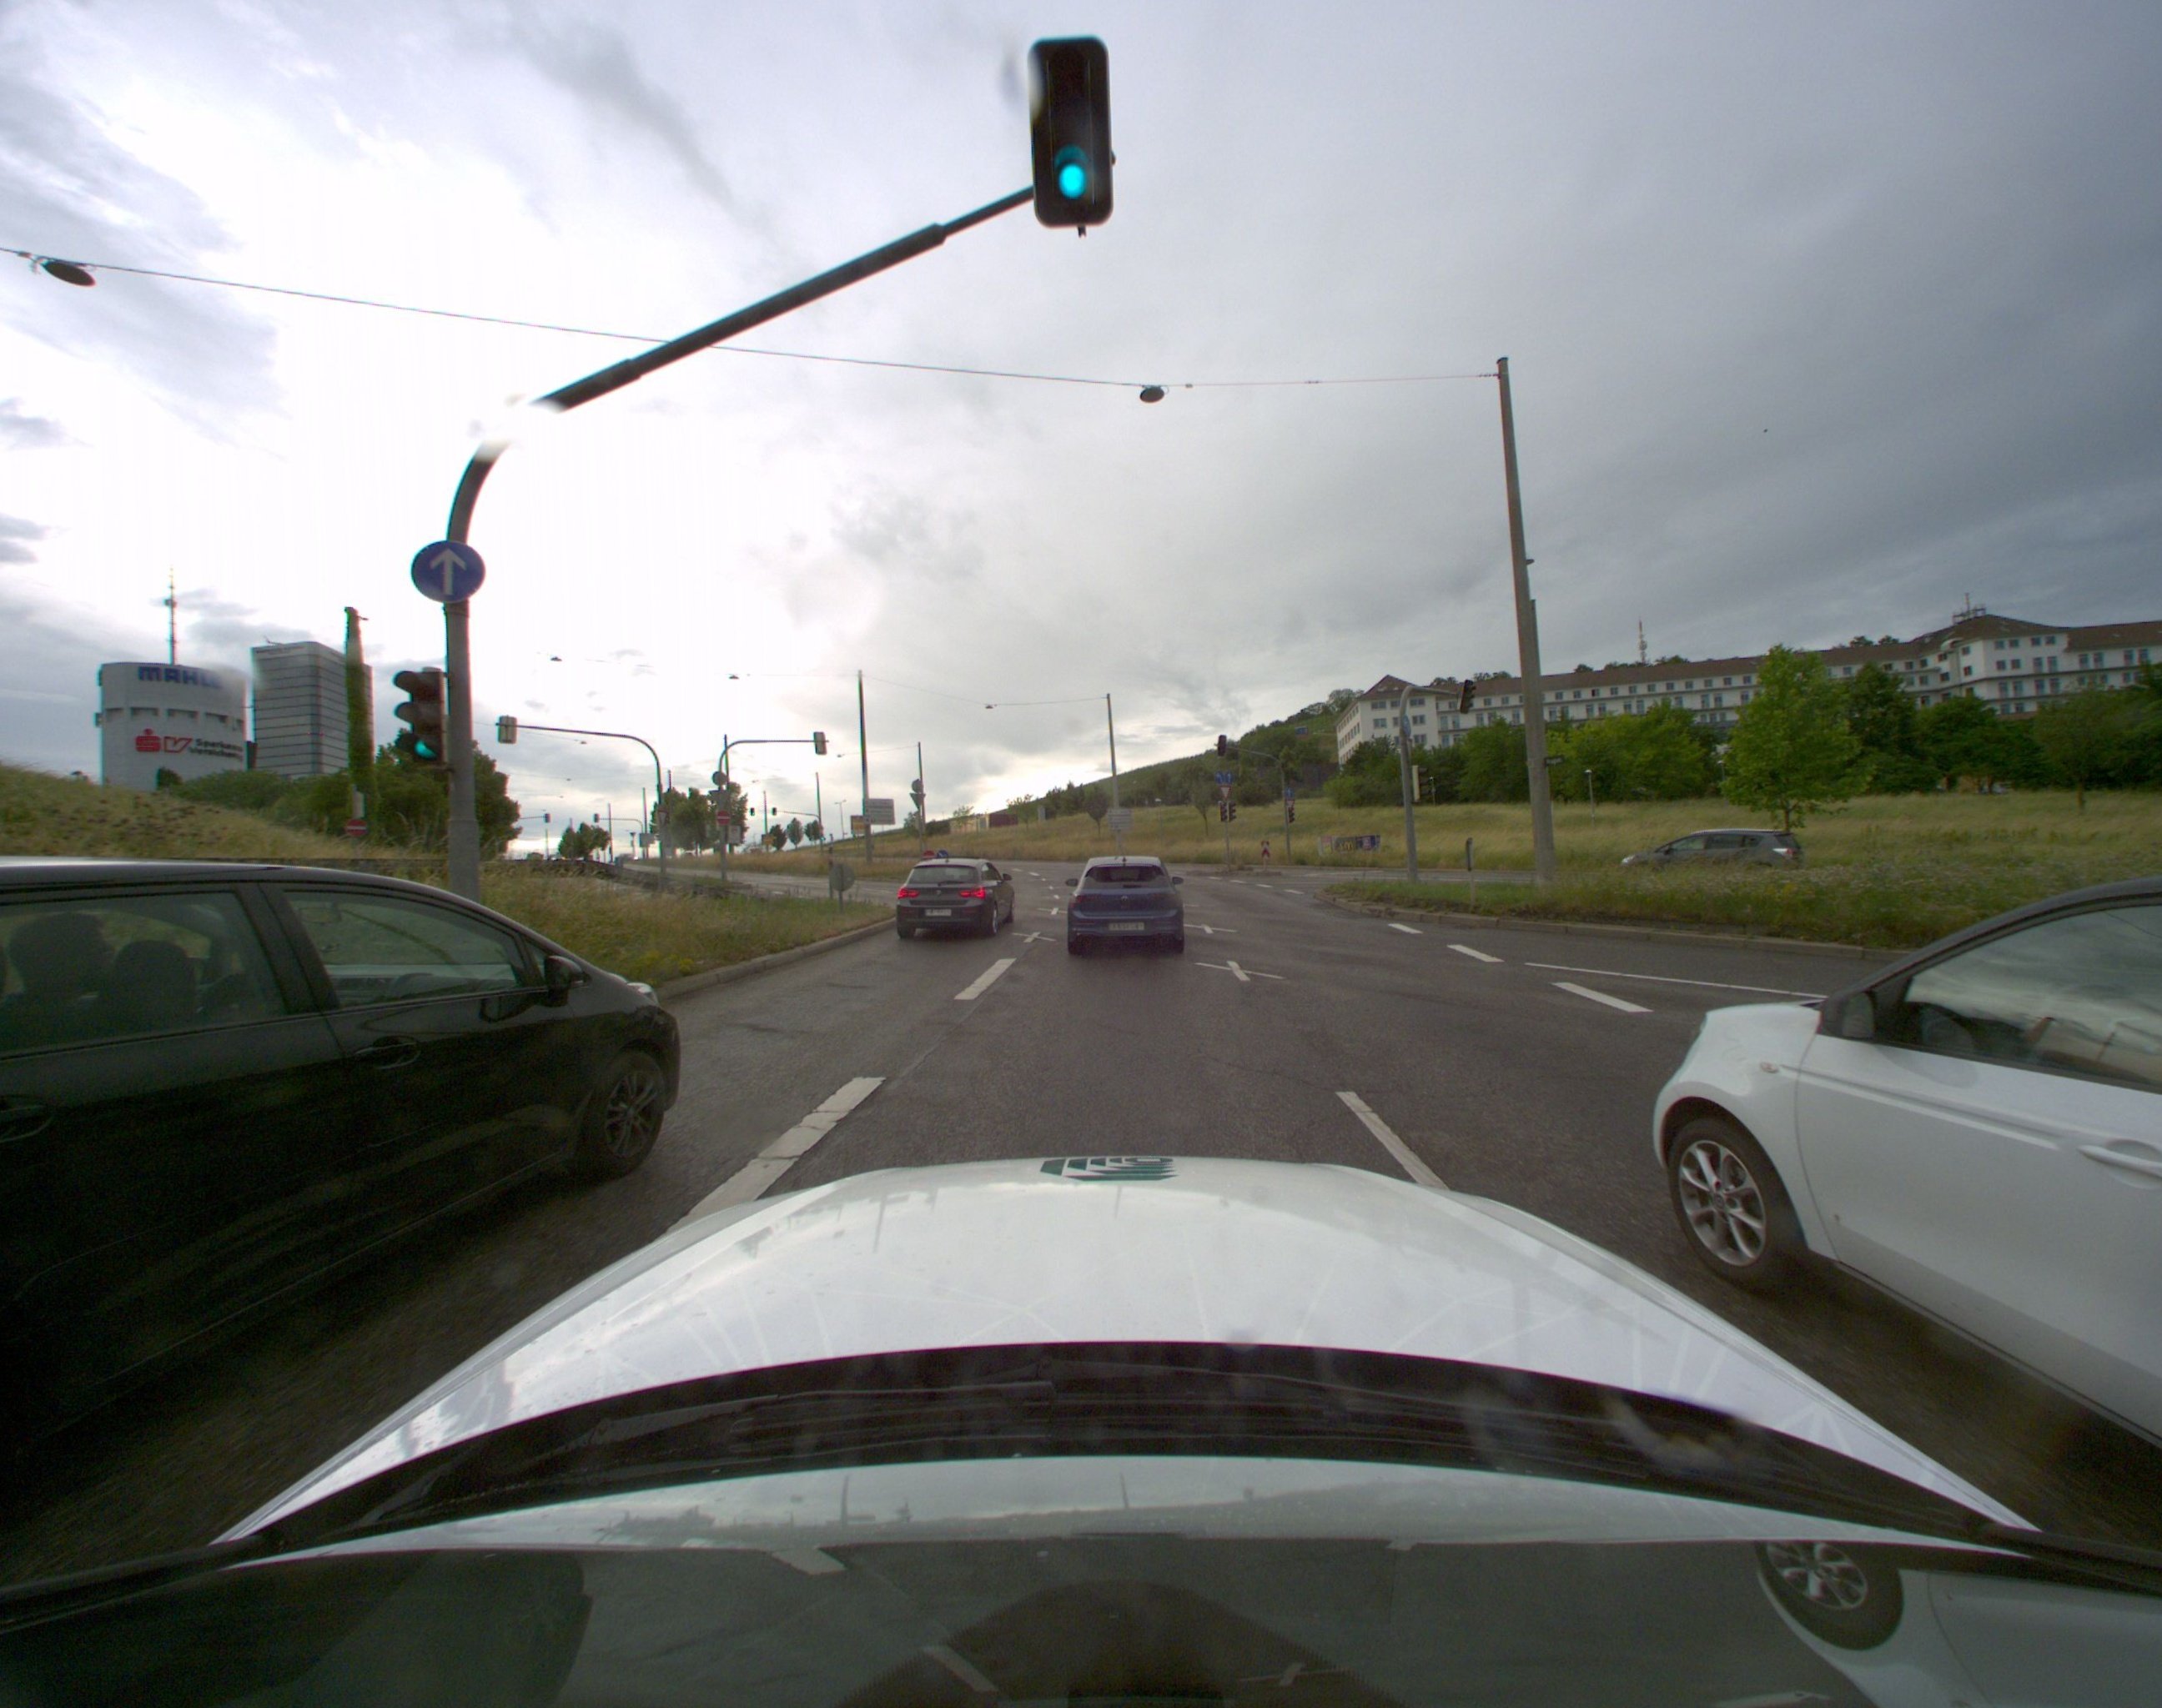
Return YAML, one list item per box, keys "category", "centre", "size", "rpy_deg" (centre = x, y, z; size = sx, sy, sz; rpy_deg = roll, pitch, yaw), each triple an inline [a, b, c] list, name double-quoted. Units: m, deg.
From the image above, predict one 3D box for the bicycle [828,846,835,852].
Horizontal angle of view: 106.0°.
- category: "bicycle"
  centre: [-35.831, -0.712, 116.841]
  size: [0.522, 0.775, 1.603]
  rpy_deg: [0, 0, -36]

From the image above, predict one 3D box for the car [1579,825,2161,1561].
- category: "car"
  centre: [3.012, 0.670, 1.833]
  size: [1.652, 1.503, 3.451]
  rpy_deg: [-2, -2, 1]

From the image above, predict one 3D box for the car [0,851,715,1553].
- category: "car"
  centre: [-3.065, 0.747, 2.885]
  size: [1.635, 1.504, 3.781]
  rpy_deg: [0, 0, 3]

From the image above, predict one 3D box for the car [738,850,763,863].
- category: "car"
  centre: [-43.041, 0.357, 105.959]
  size: [2.008, 1.618, 4.800]
  rpy_deg: [0, -1, -34]

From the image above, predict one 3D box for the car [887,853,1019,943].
- category: "car"
  centre: [-2.349, 0.771, 16.026]
  size: [1.696, 1.459, 4.117]
  rpy_deg: [-3, 0, 3]

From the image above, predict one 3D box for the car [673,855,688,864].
- category: "car"
  centre: [-72.129, 1.032, 146.508]
  size: [2.007, 1.637, 4.377]
  rpy_deg: [1, -1, -31]

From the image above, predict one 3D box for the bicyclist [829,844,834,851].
- category: "bicyclist"
  centre: [-35.804, -0.960, 116.808]
  size: [0.527, 1.047, 0.574]
  rpy_deg: [2, -1, -36]

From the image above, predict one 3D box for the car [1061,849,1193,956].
- category: "car"
  centre: [0.734, 0.711, 13.469]
  size: [1.818, 1.461, 3.810]
  rpy_deg: [-2, -1, 2]

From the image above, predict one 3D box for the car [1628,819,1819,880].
- category: "car"
  centre: [18.496, -0.073, 23.596]
  size: [2.009, 1.537, 3.916]
  rpy_deg: [-1, -2, -36]

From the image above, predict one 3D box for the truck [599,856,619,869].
- category: "truck"
  centre: [-116.343, 2.057, 200.693]
  size: [3.285, 3.075, 6.103]
  rpy_deg: [2, -1, -41]
